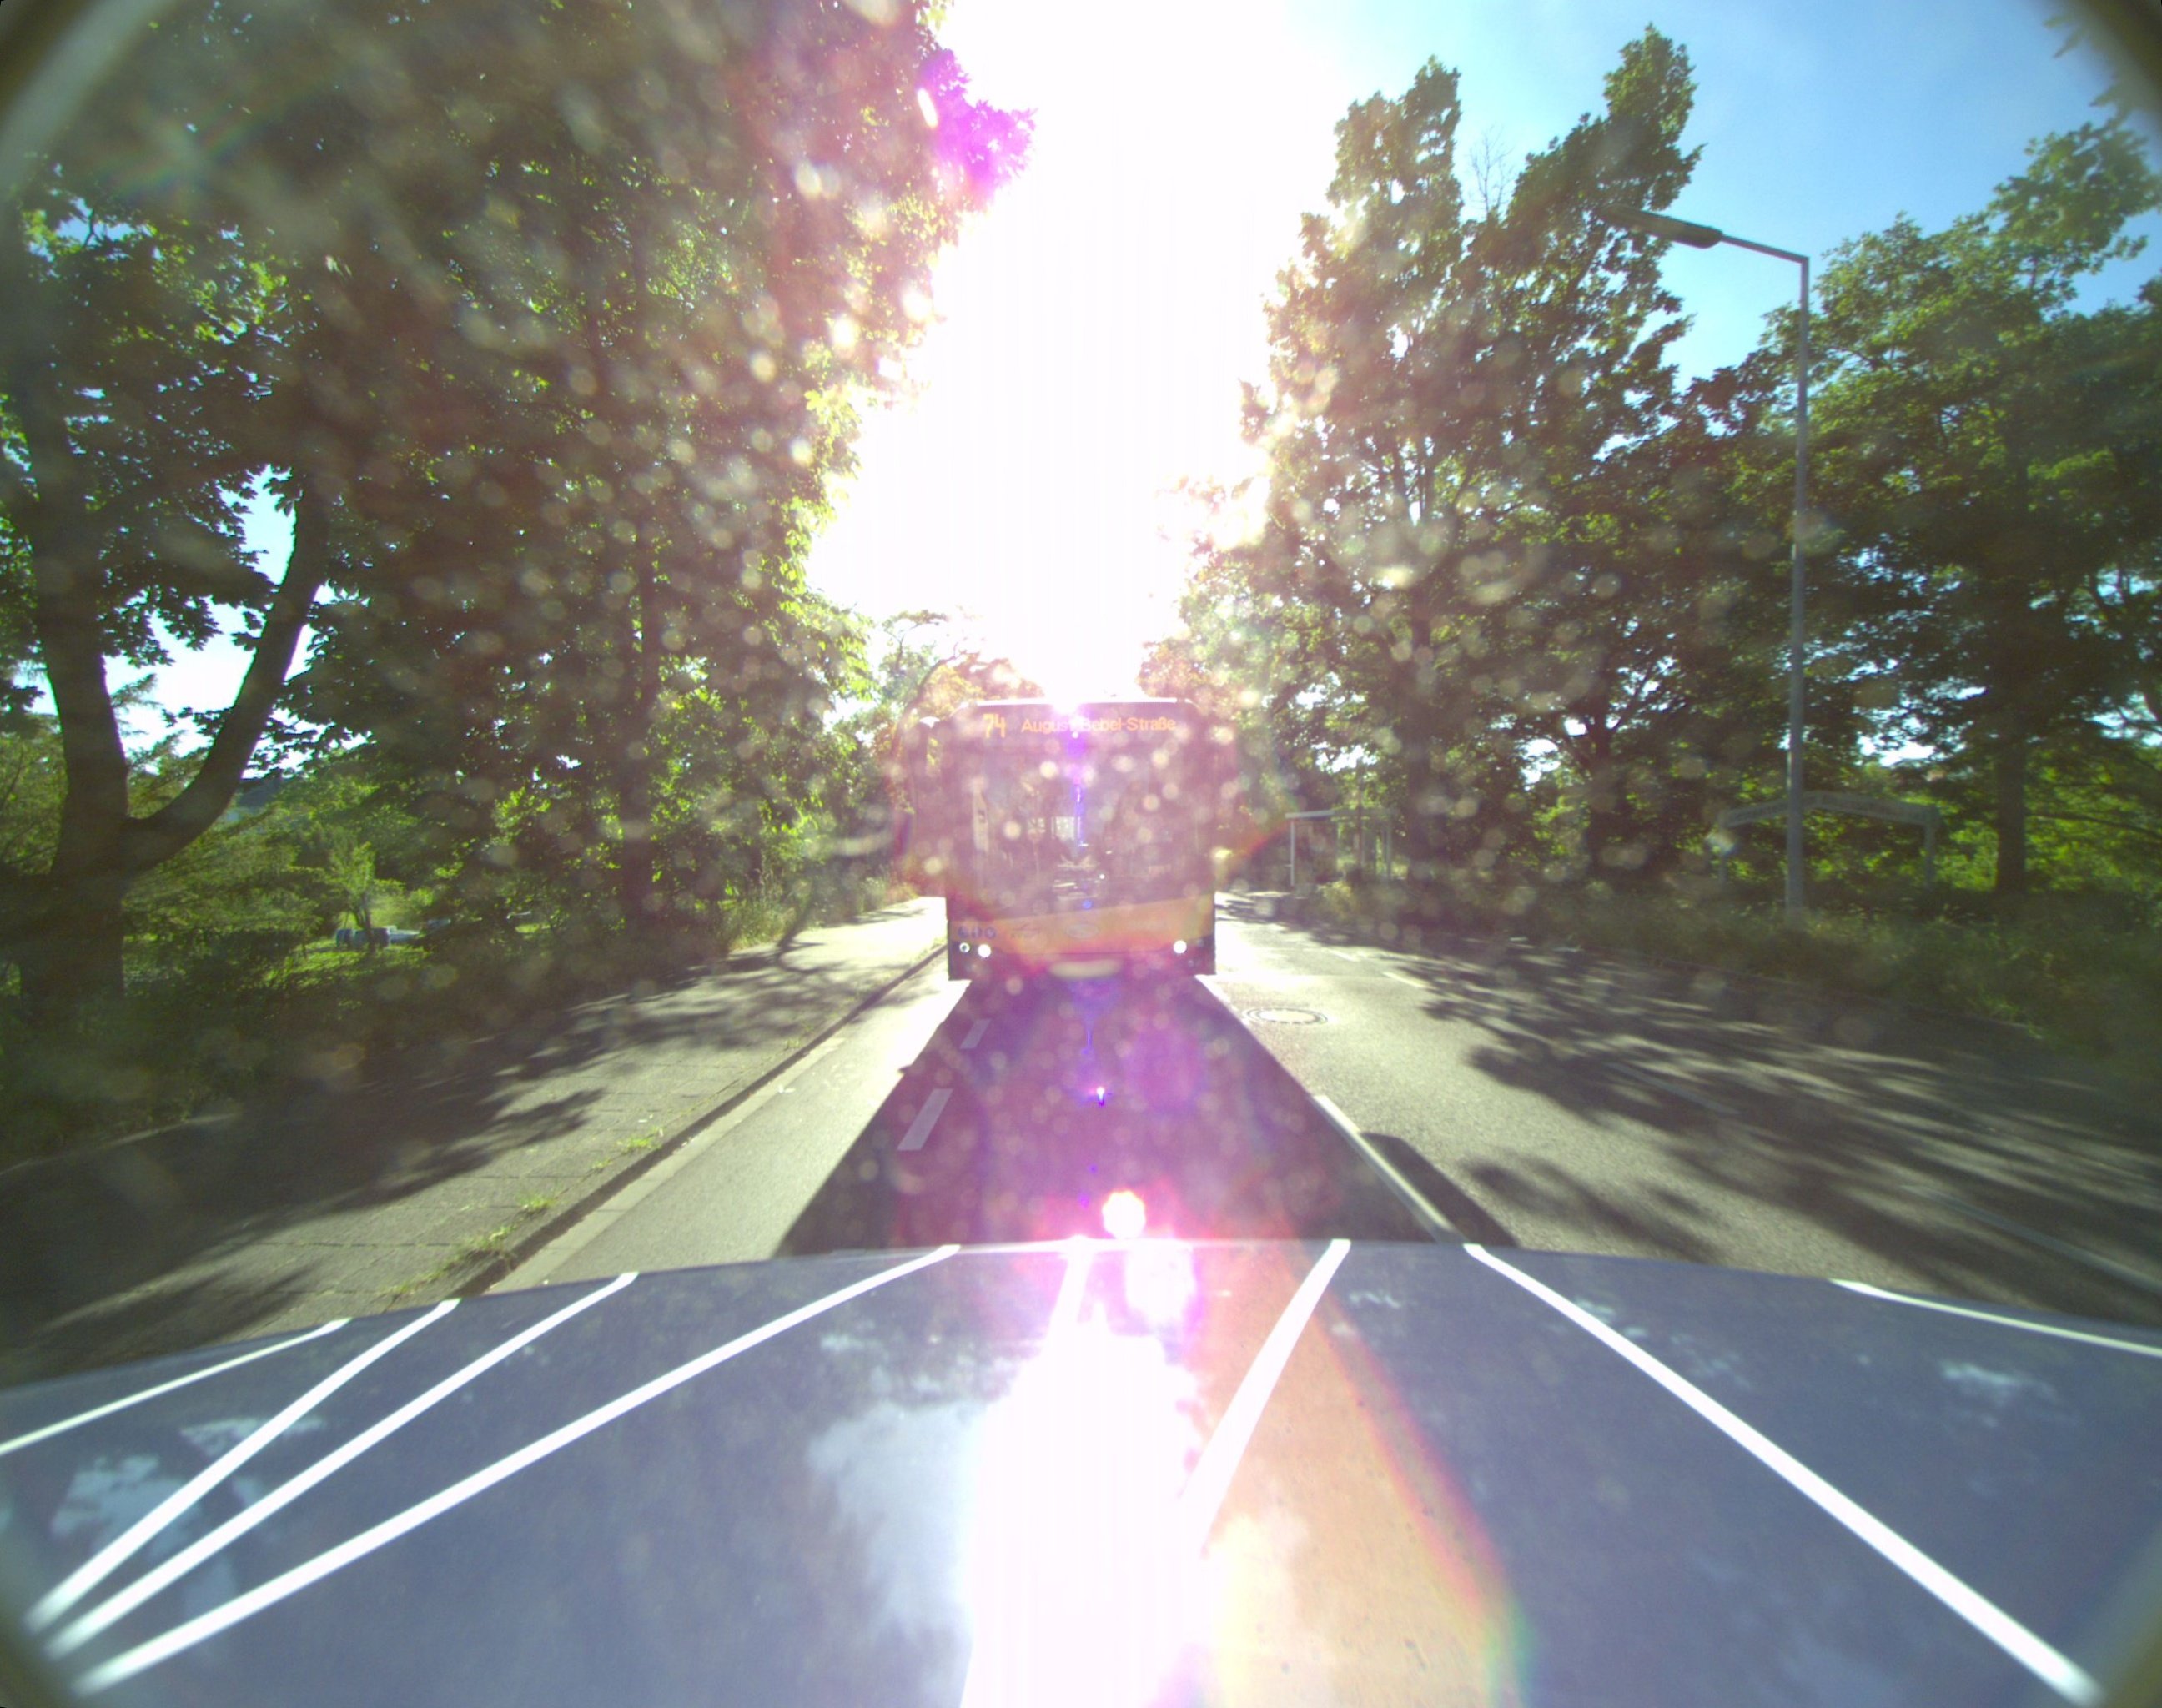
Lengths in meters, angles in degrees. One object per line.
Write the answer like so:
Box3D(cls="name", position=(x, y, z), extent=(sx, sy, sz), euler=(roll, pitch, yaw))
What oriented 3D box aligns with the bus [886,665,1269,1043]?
Box3D(cls="bus", position=(0.057, -0.062, 12.662), extent=(3.128, 3.080, 12.477), euler=(-2, 1, 1))
